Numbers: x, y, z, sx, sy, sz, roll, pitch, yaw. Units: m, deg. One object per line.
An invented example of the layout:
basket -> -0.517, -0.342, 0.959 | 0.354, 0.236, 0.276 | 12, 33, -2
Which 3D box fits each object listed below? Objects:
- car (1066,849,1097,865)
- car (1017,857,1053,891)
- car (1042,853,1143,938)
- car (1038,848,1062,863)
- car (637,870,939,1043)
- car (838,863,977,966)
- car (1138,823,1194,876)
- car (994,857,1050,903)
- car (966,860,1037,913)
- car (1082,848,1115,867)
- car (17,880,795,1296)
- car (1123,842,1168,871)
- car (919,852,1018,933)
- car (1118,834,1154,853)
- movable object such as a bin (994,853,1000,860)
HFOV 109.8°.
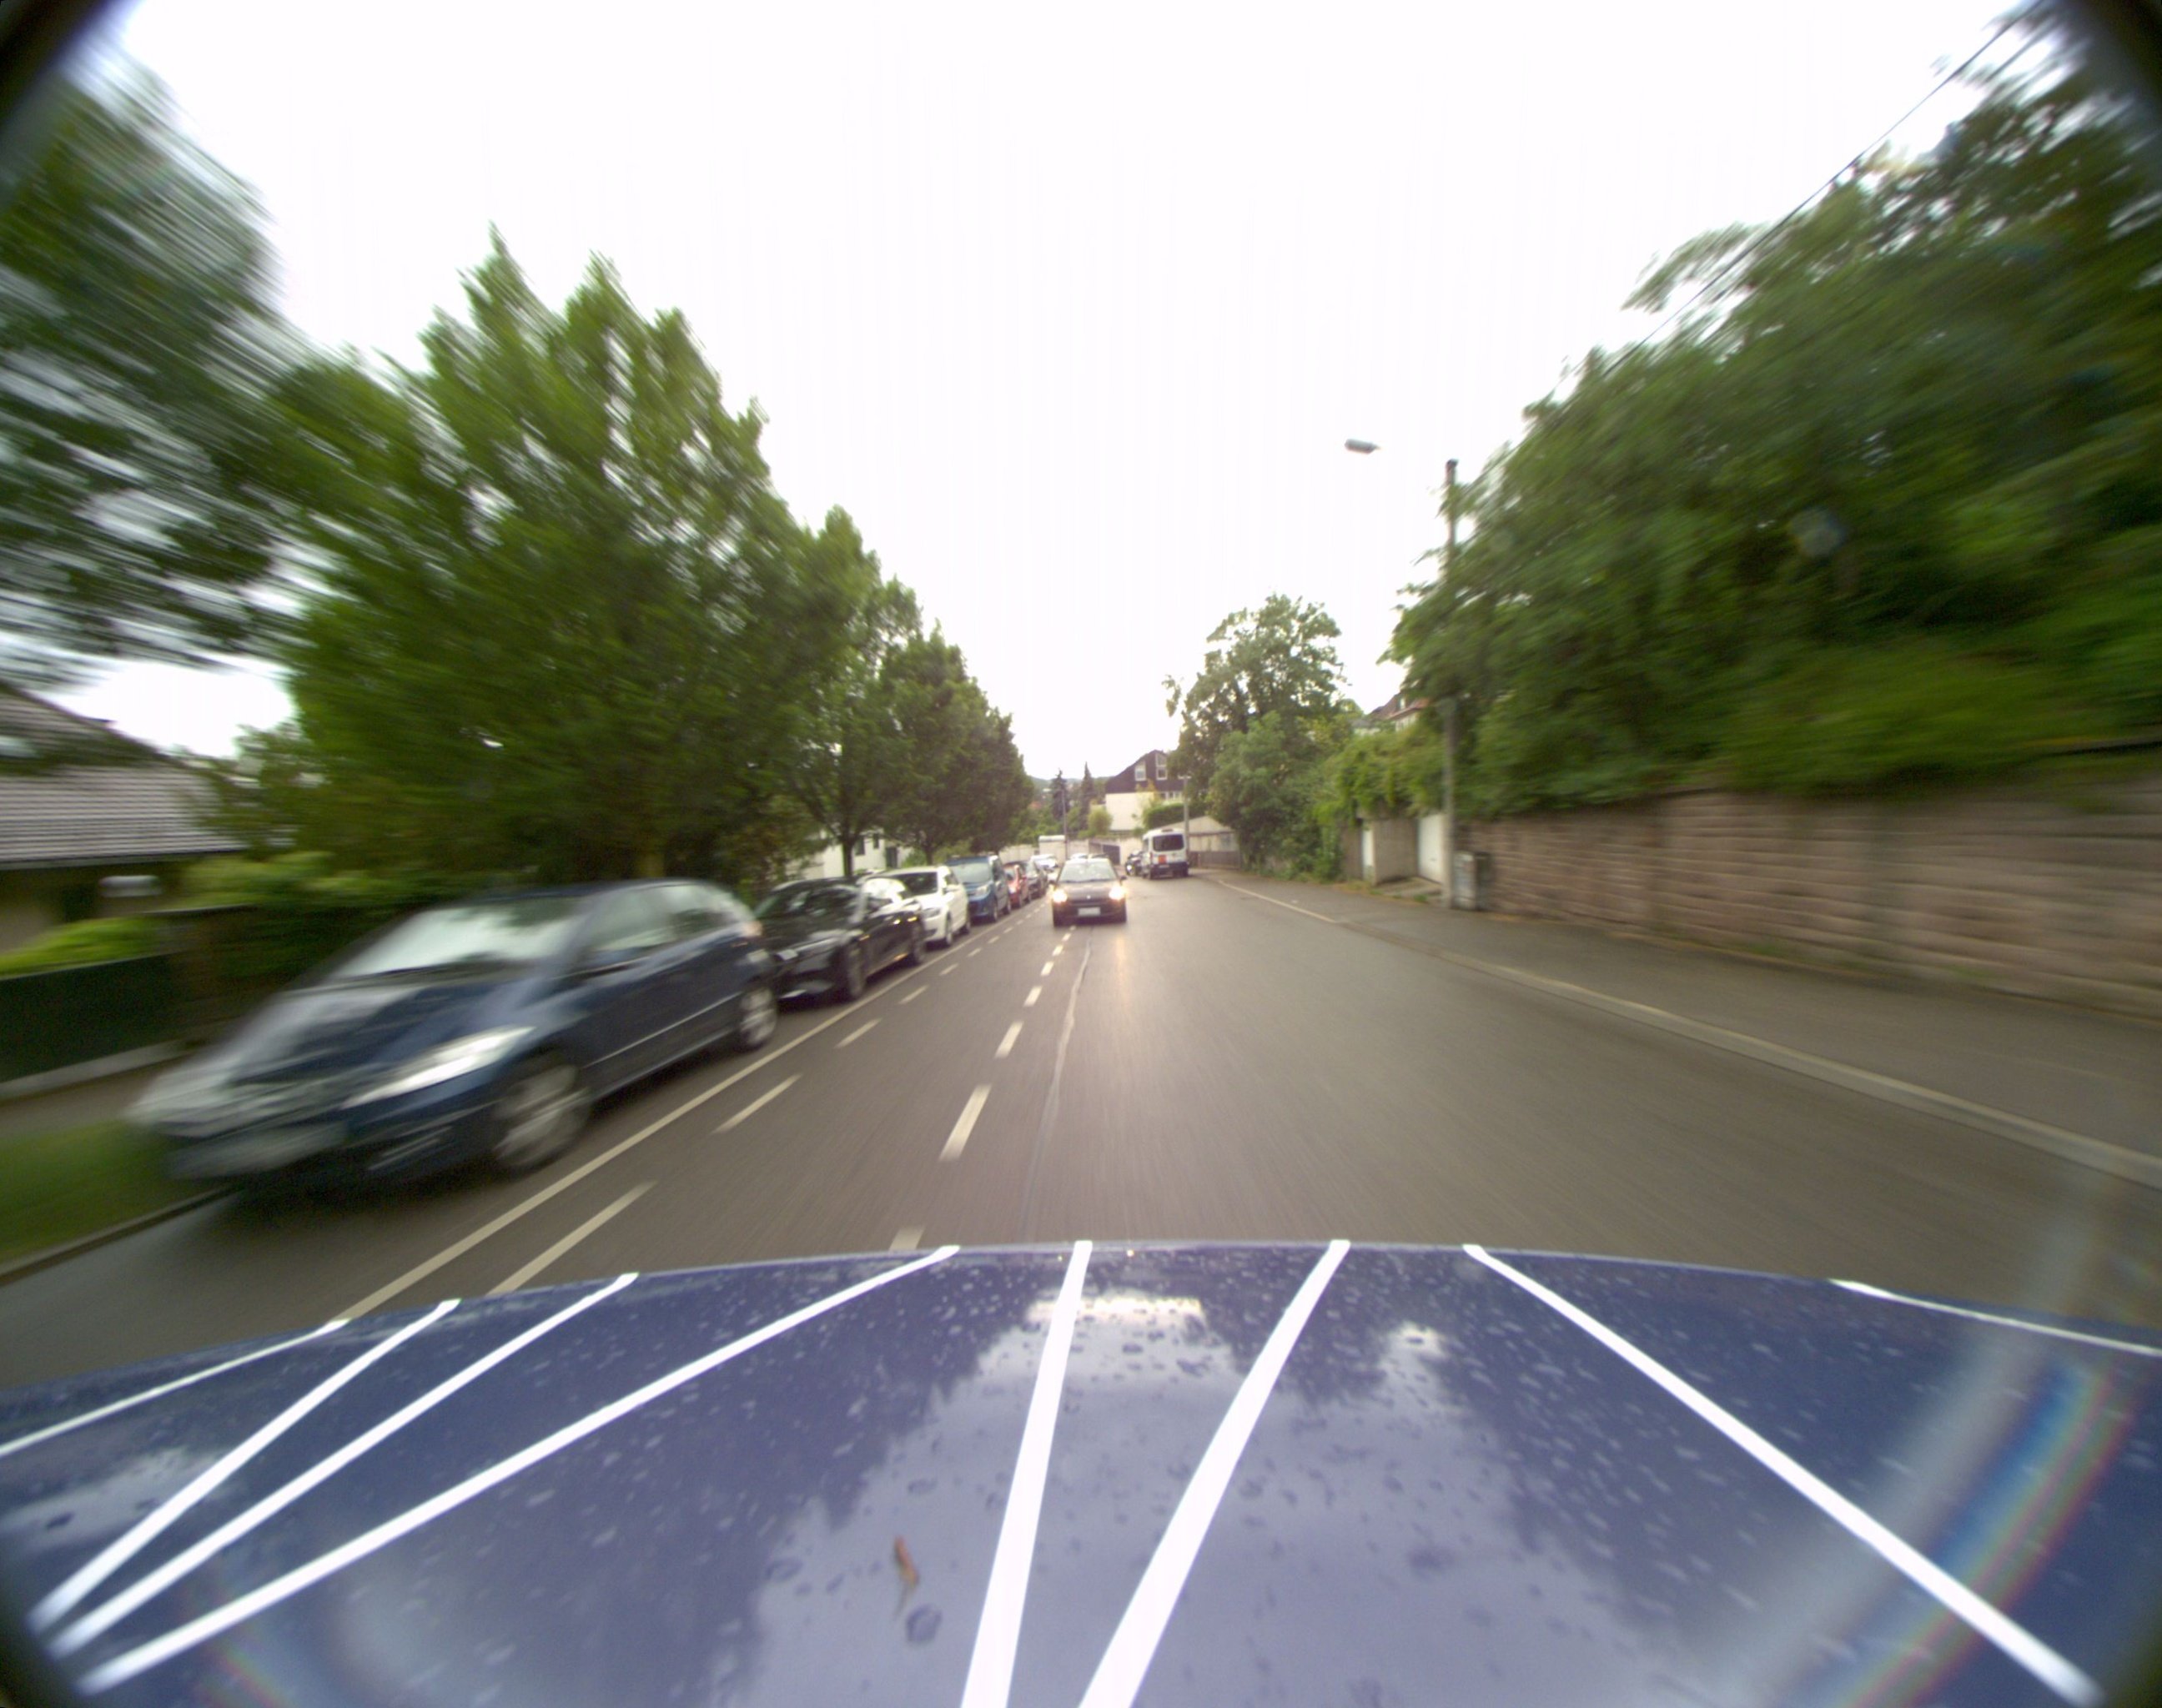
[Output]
car -> 0.026, 0.273, 73.419 | 1.839, 1.431, 4.034 | -5, 1, -15
car -> -2.577, 1.090, 43.356 | 1.781, 1.544, 4.726 | -6, 1, -2
car -> 0.334, 0.835, 17.262 | 1.892, 1.521, 4.057 | -5, 0, 3
car -> -3.515, 0.222, 84.943 | 1.633, 1.507, 3.826 | -5, 1, -18
car -> -3.559, 1.142, 10.474 | 1.998, 1.528, 4.850 | -5, 0, 2
car -> -3.357, 1.100, 15.555 | 1.788, 1.599, 4.223 | -5, 0, -1
car -> 4.510, -0.233, 41.384 | 2.100, 2.535, 6.096 | -4, 0, -1
car -> -2.367, 1.005, 31.353 | 1.718, 1.547, 4.163 | -7, 0, 1
car -> -2.645, 1.052, 26.210 | 1.652, 1.473, 4.020 | -5, 1, 3
car -> 1.521, 0.297, 66.675 | 1.719, 1.451, 4.677 | -5, 1, -12
car -> -3.735, 1.114, 5.319 | 1.697, 1.561, 3.923 | -5, 0, 3
car -> 4.083, 0.140, 48.736 | 1.902, 1.681, 4.542 | -4, 1, -7
car -> -2.985, 0.958, 21.138 | 1.782, 1.841, 4.425 | -5, 0, 2
car -> 6.384, -1.186, 88.603 | 3.871, 1.735, 1.789 | -6, 2, 9
movable object such as a bin -> -12.484, 0.426, 113.406 | 0.609, 0.986, 0.601 | -6, 2, 12
